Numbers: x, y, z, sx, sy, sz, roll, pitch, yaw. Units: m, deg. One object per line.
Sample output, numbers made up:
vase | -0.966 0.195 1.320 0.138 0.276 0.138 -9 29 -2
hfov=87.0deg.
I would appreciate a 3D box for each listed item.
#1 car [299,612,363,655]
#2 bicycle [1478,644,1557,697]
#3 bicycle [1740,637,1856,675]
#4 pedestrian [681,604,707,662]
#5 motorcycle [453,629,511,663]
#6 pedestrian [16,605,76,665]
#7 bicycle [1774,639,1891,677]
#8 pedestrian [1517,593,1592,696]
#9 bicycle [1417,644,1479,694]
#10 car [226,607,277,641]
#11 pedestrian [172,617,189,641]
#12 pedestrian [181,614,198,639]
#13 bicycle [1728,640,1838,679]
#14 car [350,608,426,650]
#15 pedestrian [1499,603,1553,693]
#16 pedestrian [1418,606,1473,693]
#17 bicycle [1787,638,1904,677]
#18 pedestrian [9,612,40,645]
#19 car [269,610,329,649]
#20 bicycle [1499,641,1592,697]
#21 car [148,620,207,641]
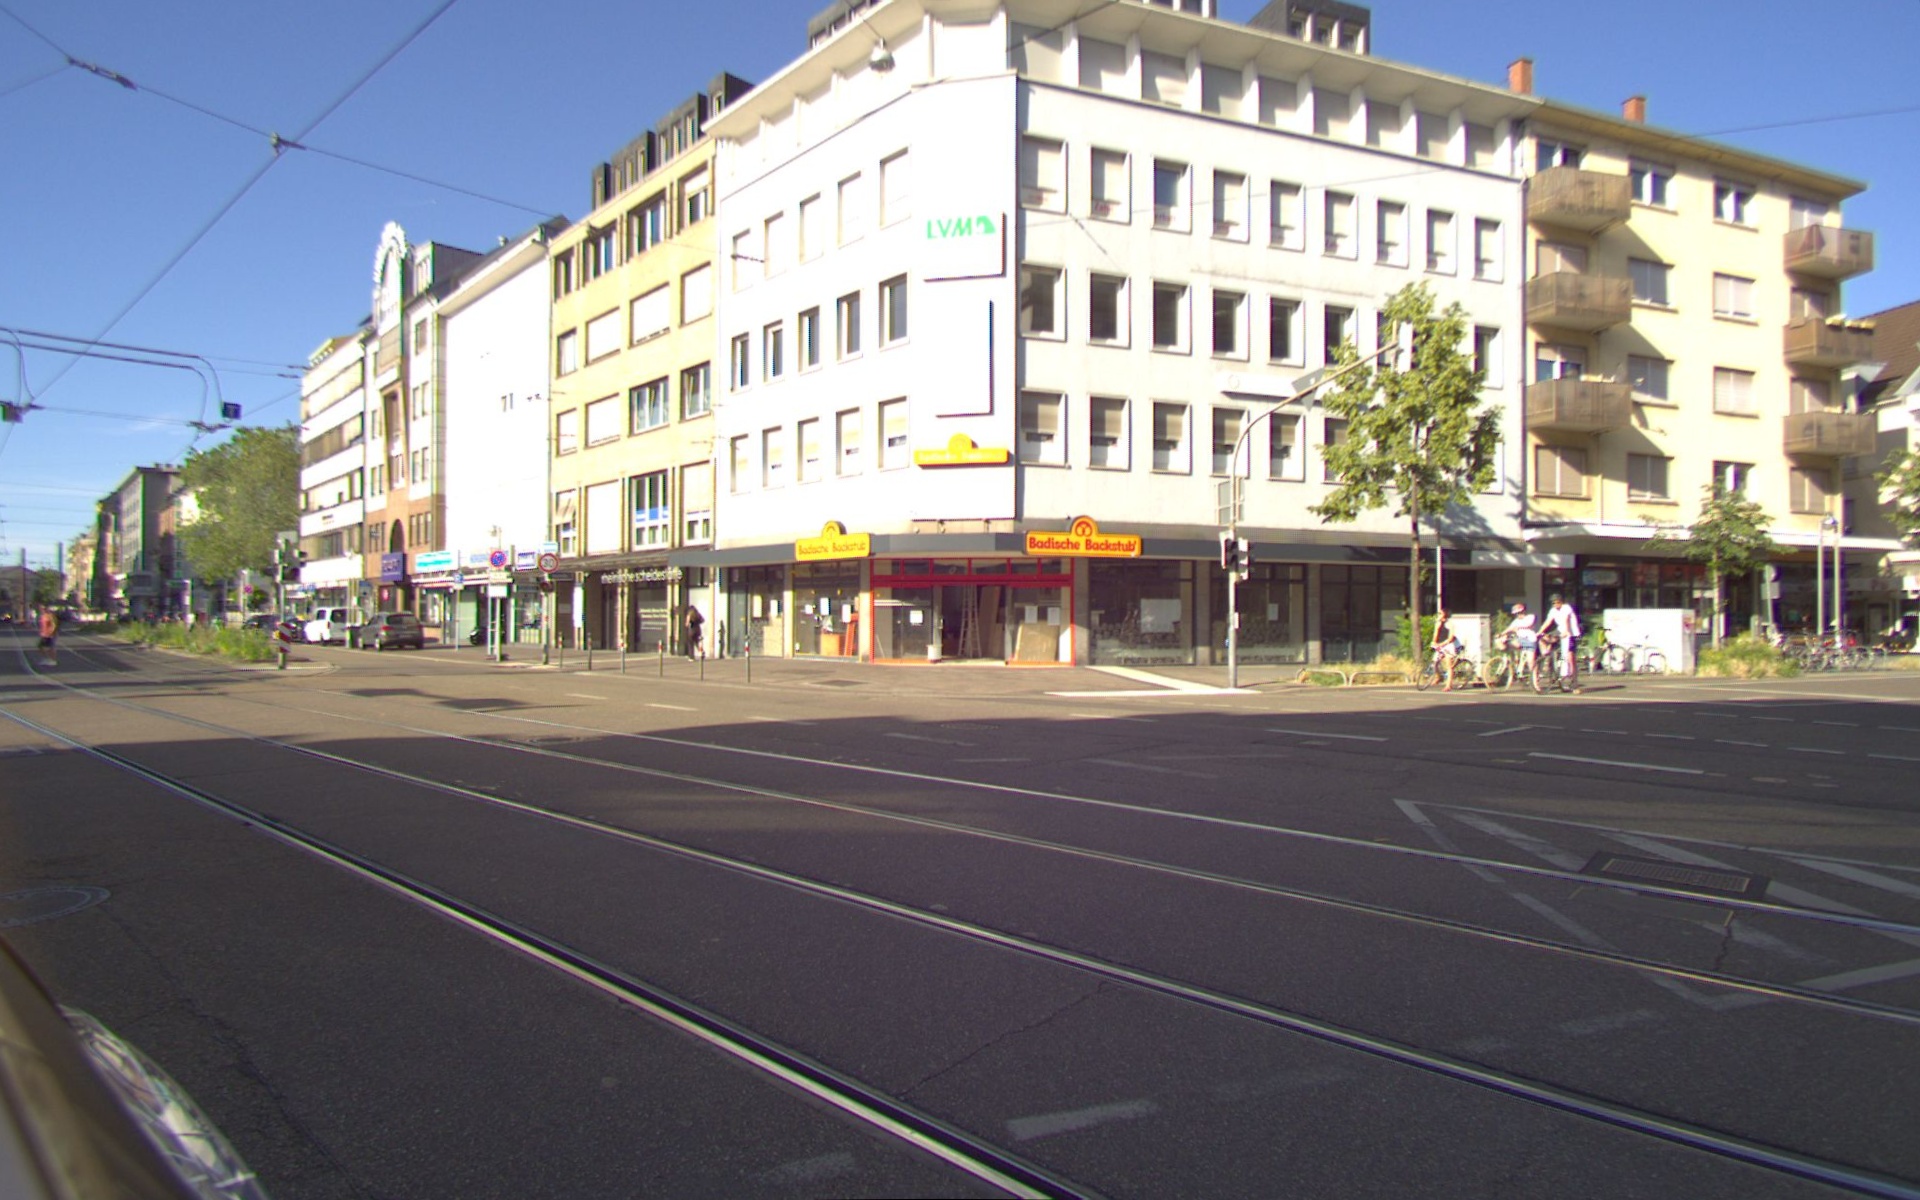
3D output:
car | -31.167 1.615 50.111 1.969 2.029 4.849 1 -1 -41
bicycle | 11.026 1.376 20.008 1.764 0.975 0.555 1 -2 -32
bicycle | 23.080 1.528 27.935 0.536 0.965 2.411 1 -1 -32
pedestrian | -8.019 0.978 30.498 0.700 1.722 0.562 1 -2 -23
motorcycle | -22.106 2.118 46.821 1.000 1.516 2.223 -1 -2 43
pedestrian | -26.051 0.993 28.858 0.911 1.676 0.939 -1 -2 21
bicycle | 24.335 1.591 28.284 0.644 0.985 2.404 1 -1 -30
pedestrian | 11.284 0.842 19.211 0.985 1.881 0.782 0 -4 -34
bicycle | 10.049 1.406 20.820 1.431 0.963 0.483 1 -2 -34
car | -43.365 1.439 61.906 1.970 2.029 4.003 1 -1 -44
pedestrian | -53.545 2.007 69.502 0.572 1.637 0.706 0 -1 -1
pedestrian | -52.904 1.825 69.481 0.572 1.728 0.706 0 -1 -1
bicycle | 22.429 1.603 27.628 0.645 0.965 2.233 1 -1 -32
car | -25.145 1.248 44.406 1.970 1.719 4.003 1 -1 -44
pedestrian | 11.273 0.937 20.157 0.550 1.741 0.782 0 -1 -34
pedestrian | 9.855 0.980 20.546 0.643 1.725 0.795 0 -1 -35
bicycle | 25.058 1.597 28.696 0.644 1.013 2.411 1 -1 -31
pedestrian | -81.649 2.494 88.366 1.809 2.812 1.296 1 -1 -35
car | -35.306 1.549 53.988 1.970 2.029 4.003 1 -1 -44
bicycle | 11.114 1.301 19.195 1.696 1.015 0.763 1 -4 -32
car | -69.553 2.723 89.965 3.940 1.811 2.002 1 -2 -43
